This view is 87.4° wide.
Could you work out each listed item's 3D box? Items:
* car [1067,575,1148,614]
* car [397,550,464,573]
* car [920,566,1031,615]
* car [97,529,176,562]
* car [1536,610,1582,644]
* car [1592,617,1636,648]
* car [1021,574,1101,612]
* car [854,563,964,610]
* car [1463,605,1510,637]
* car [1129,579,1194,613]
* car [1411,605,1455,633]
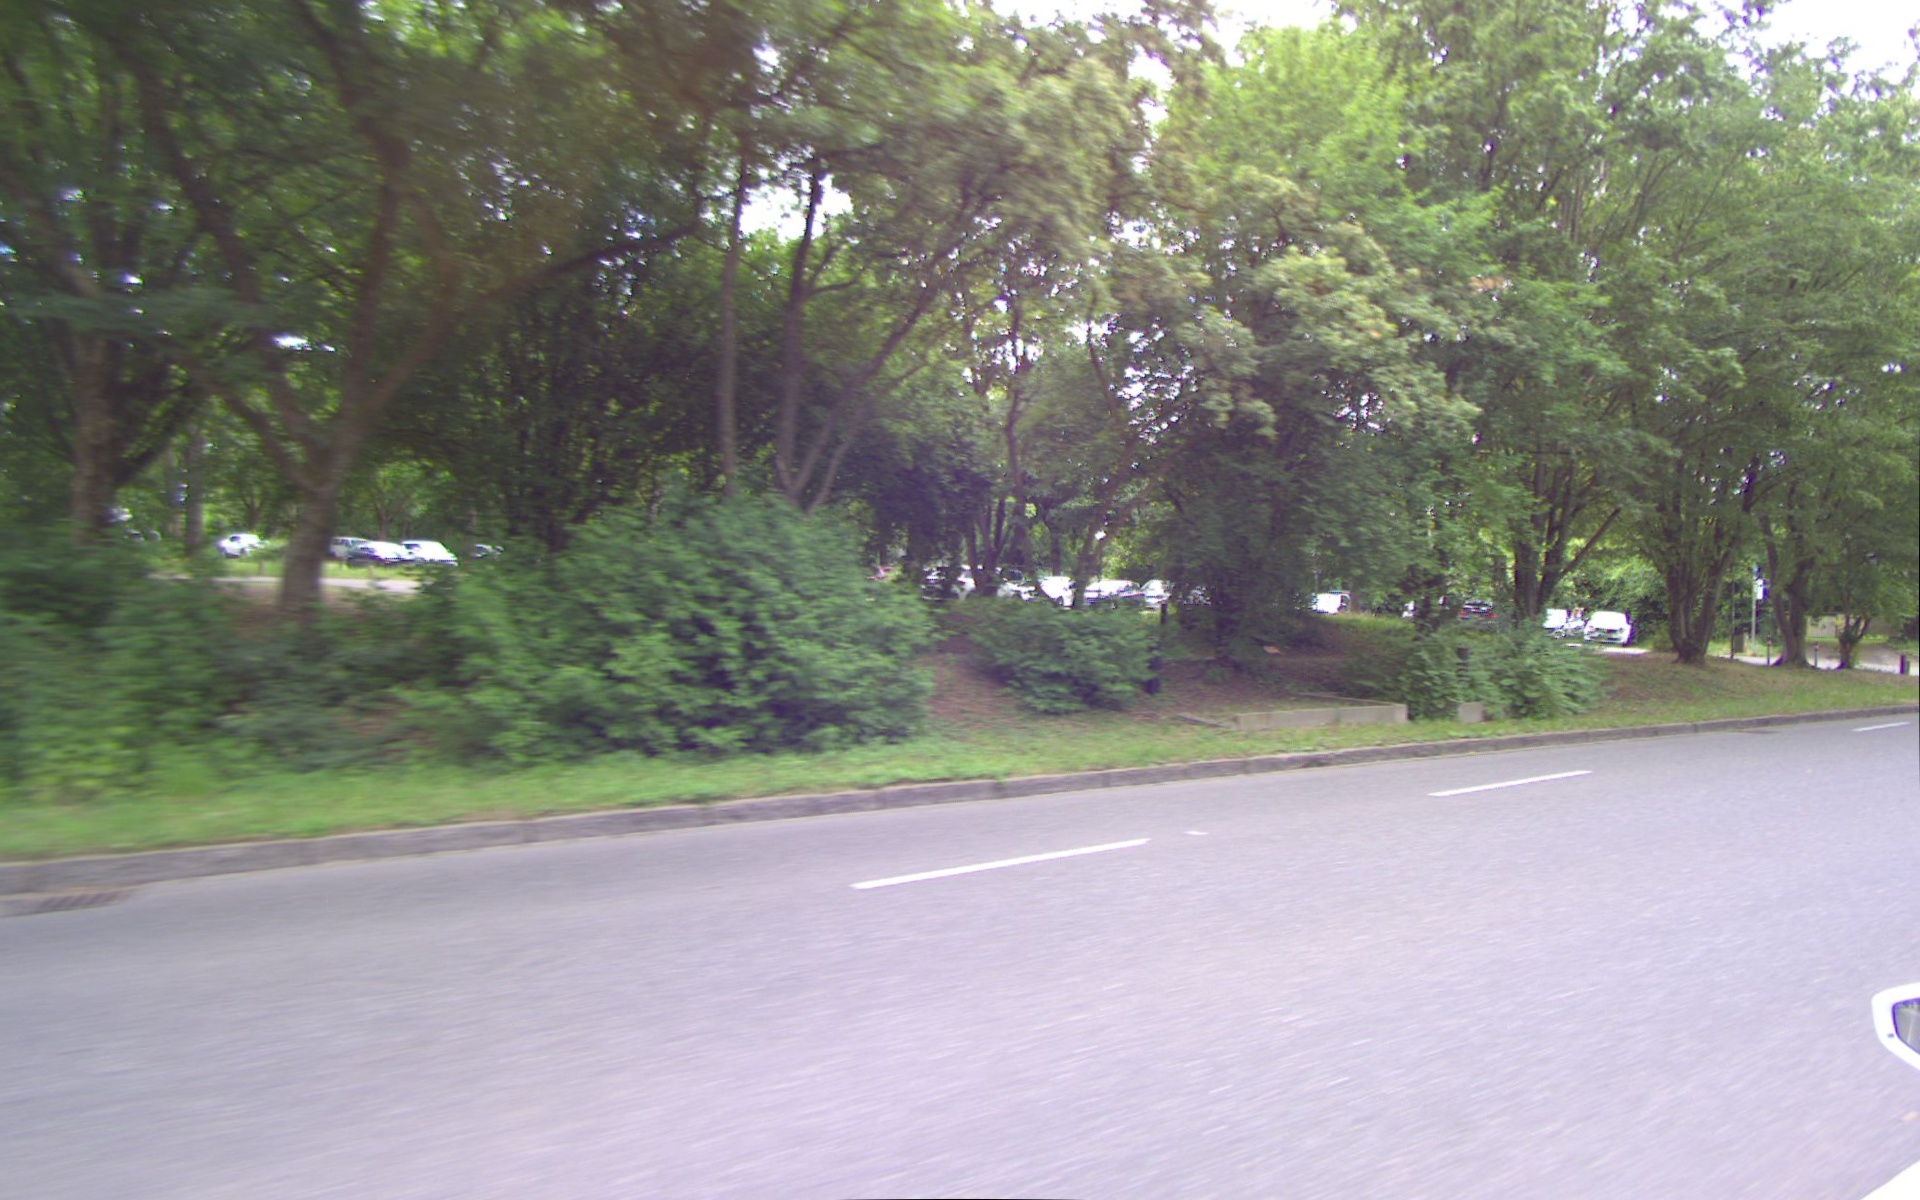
[{"bbox_3d":[6.162,-0.226,41.621,1.624,1.506,3.986,2,0,36],"label":"car"},{"bbox_3d":[-30.764,-2.222,58.335,3.920,1.226,1.897,2,0,36],"label":"car"},{"bbox_3d":[0.561,-0.279,32.840,1.624,1.506,3.986,2,0,36],"label":"car"},{"bbox_3d":[-58.310,-3.824,71.192,1.872,2.087,3.972,2,0,35],"label":"car"},{"bbox_3d":[27.217,1.206,45.627,1.354,1.420,3.058,4,1,38],"label":"car"},{"bbox_3d":[29.231,1.448,44.866,1.354,1.255,3.058,4,1,38],"label":"car"},{"bbox_3d":[4.355,-0.278,42.908,1.624,1.506,3.986,2,0,36],"label":"car"},{"bbox_3d":[-1.706,-0.436,34.686,1.624,1.506,3.986,2,0,36],"label":"car"},{"bbox_3d":[24.793,0.983,47.245,1.354,1.420,3.058,4,1,38],"label":"car"},{"bbox_3d":[9.228,-0.183,45.928,1.516,1.434,3.365,4,1,38],"label":"car"},{"bbox_3d":[22.931,0.911,48.670,1.247,1.228,3.058,4,1,38],"label":"car"}]
